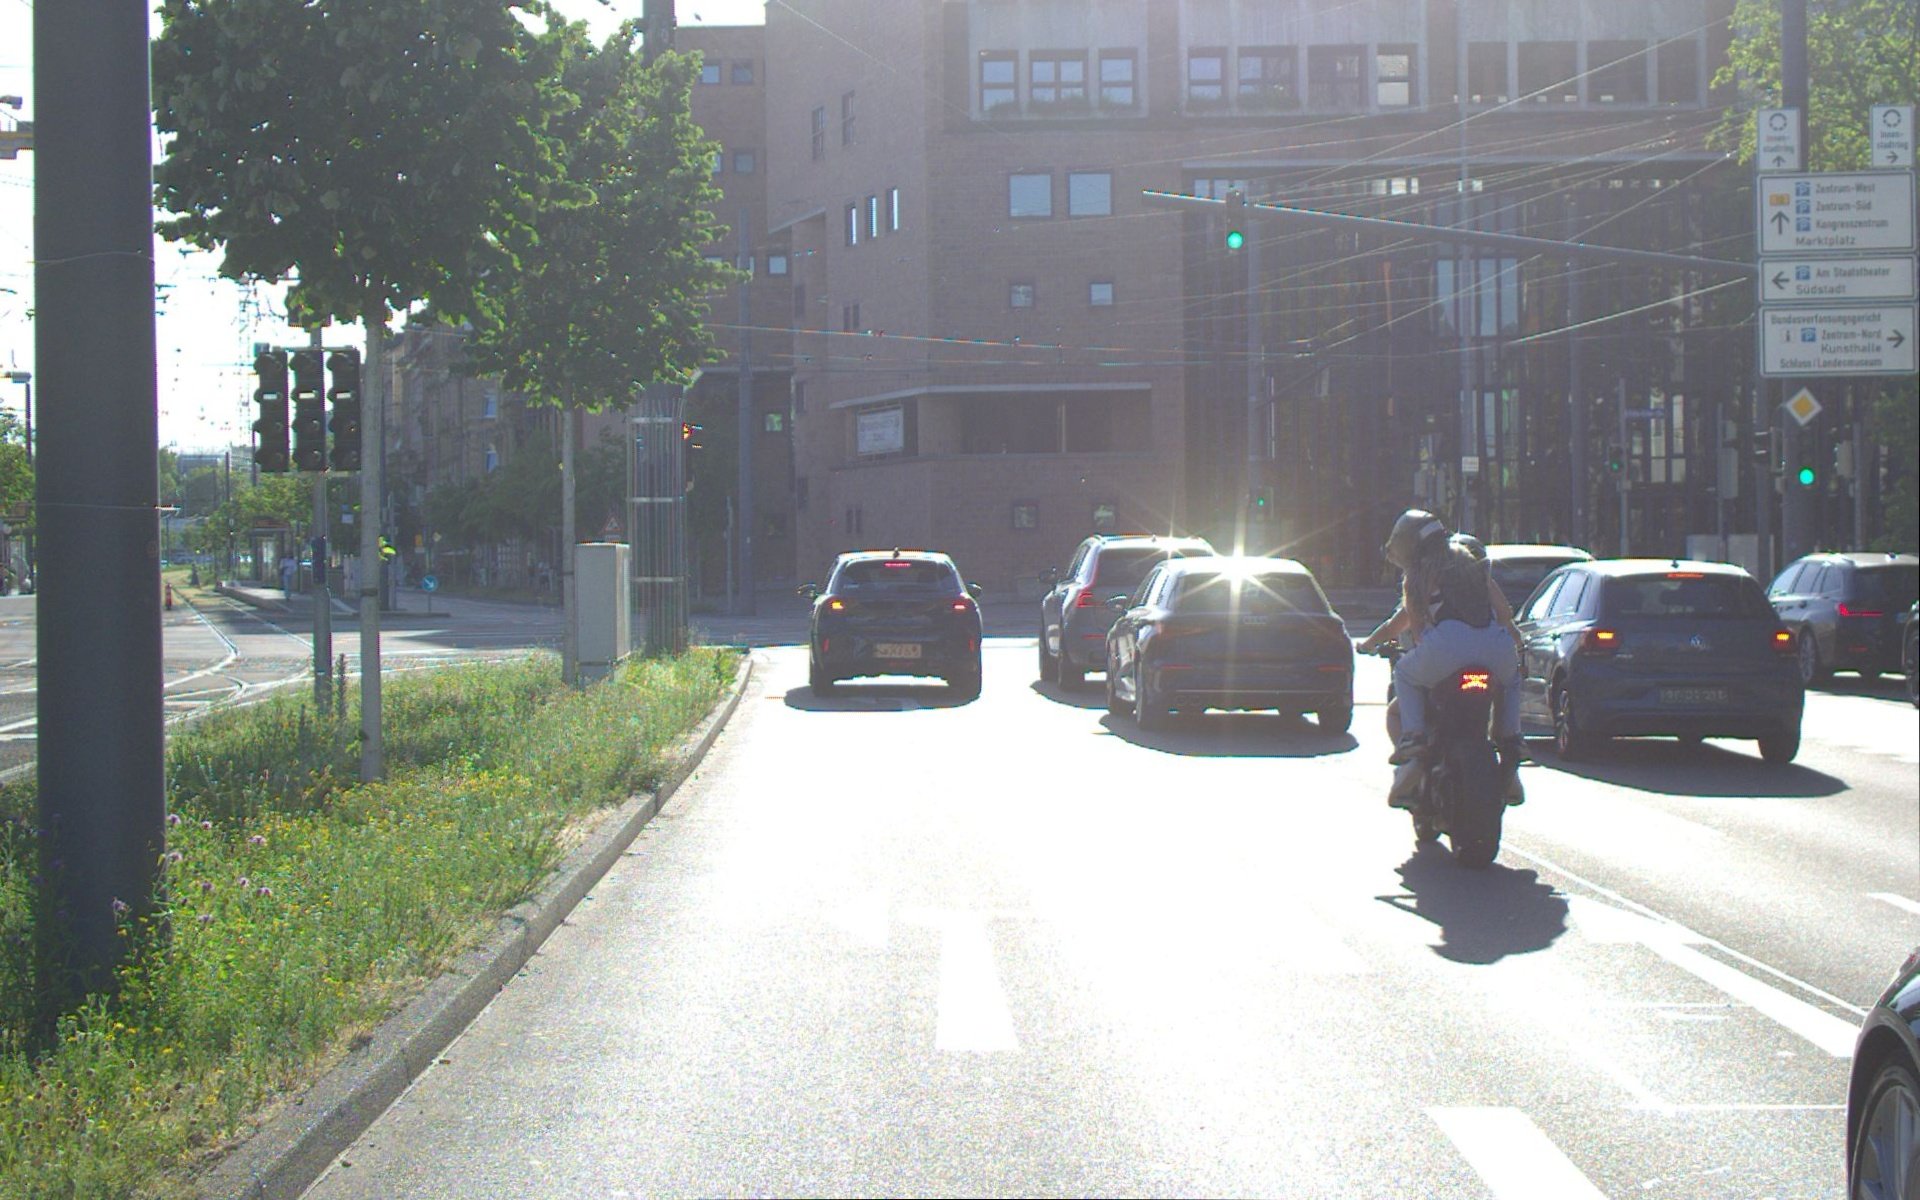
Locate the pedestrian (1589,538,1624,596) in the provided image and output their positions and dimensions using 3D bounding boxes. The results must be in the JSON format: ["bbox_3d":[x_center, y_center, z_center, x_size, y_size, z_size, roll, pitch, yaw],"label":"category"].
[{"bbox_3d":[18.358,-0.939,97.628,0.900,1.611,0.560,-1,1,7],"label":"pedestrian"}]

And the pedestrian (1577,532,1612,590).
[{"bbox_3d":[17.815,-1.093,96.537,0.900,1.611,0.560,-1,1,7],"label":"pedestrian"}]

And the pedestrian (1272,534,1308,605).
[{"bbox_3d":[8.165,-0.754,85.053,0.707,1.753,0.560,0,1,24],"label":"pedestrian"}]

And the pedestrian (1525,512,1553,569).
[{"bbox_3d":[16.493,-1.694,97.948,0.738,1.611,0.560,-1,1,7],"label":"pedestrian"}]

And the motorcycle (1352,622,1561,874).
[{"bbox_3d":[2.407,0.692,16.884,0.775,1.111,1.969,-1,1,1],"label":"motorcycle"}]

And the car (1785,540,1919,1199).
[{"bbox_3d":[2.448,0.699,4.061,1.811,1.487,4.496,1,1,0],"label":"car"}]

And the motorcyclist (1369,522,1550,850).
[{"bbox_3d":[2.394,0.394,16.569,0.745,1.525,1.021,-1,1,3],"label":"motorcyclist"}]

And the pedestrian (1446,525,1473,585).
[{"bbox_3d":[11.928,-1.075,82.049,0.529,1.425,0.598,-1,1,-2],"label":"pedestrian"}]

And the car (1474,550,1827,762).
[{"bbox_3d":[5.128,0.364,26.036,1.807,1.452,4.000,0,1,-1],"label":"car"}]

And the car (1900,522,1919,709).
[{"bbox_3d":[9.980,0.160,30.568,1.993,1.744,4.329,-1,1,-1],"label":"car"}]

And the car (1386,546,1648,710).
[{"bbox_3d":[5.259,0.224,32.938,1.807,1.452,4.000,0,1,-1],"label":"car"}]

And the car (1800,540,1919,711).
[{"bbox_3d":[10.056,0.212,35.395,1.994,1.645,4.000,-1,1,3],"label":"car"}]

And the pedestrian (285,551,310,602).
[{"bbox_3d":[-21.553,-0.760,111.852,0.742,1.634,0.768,-1,1,-15],"label":"pedestrian"}]

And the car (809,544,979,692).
[{"bbox_3d":[-0.662,0.140,35.525,1.649,1.428,4.000,-1,1,0],"label":"car"}]

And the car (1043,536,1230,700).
[{"bbox_3d":[1.824,0.150,36.642,1.737,1.645,4.000,-1,1,0],"label":"car"}]

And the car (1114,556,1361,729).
[{"bbox_3d":[2.290,0.309,29.290,1.737,1.345,4.000,-1,1,0],"label":"car"}]
